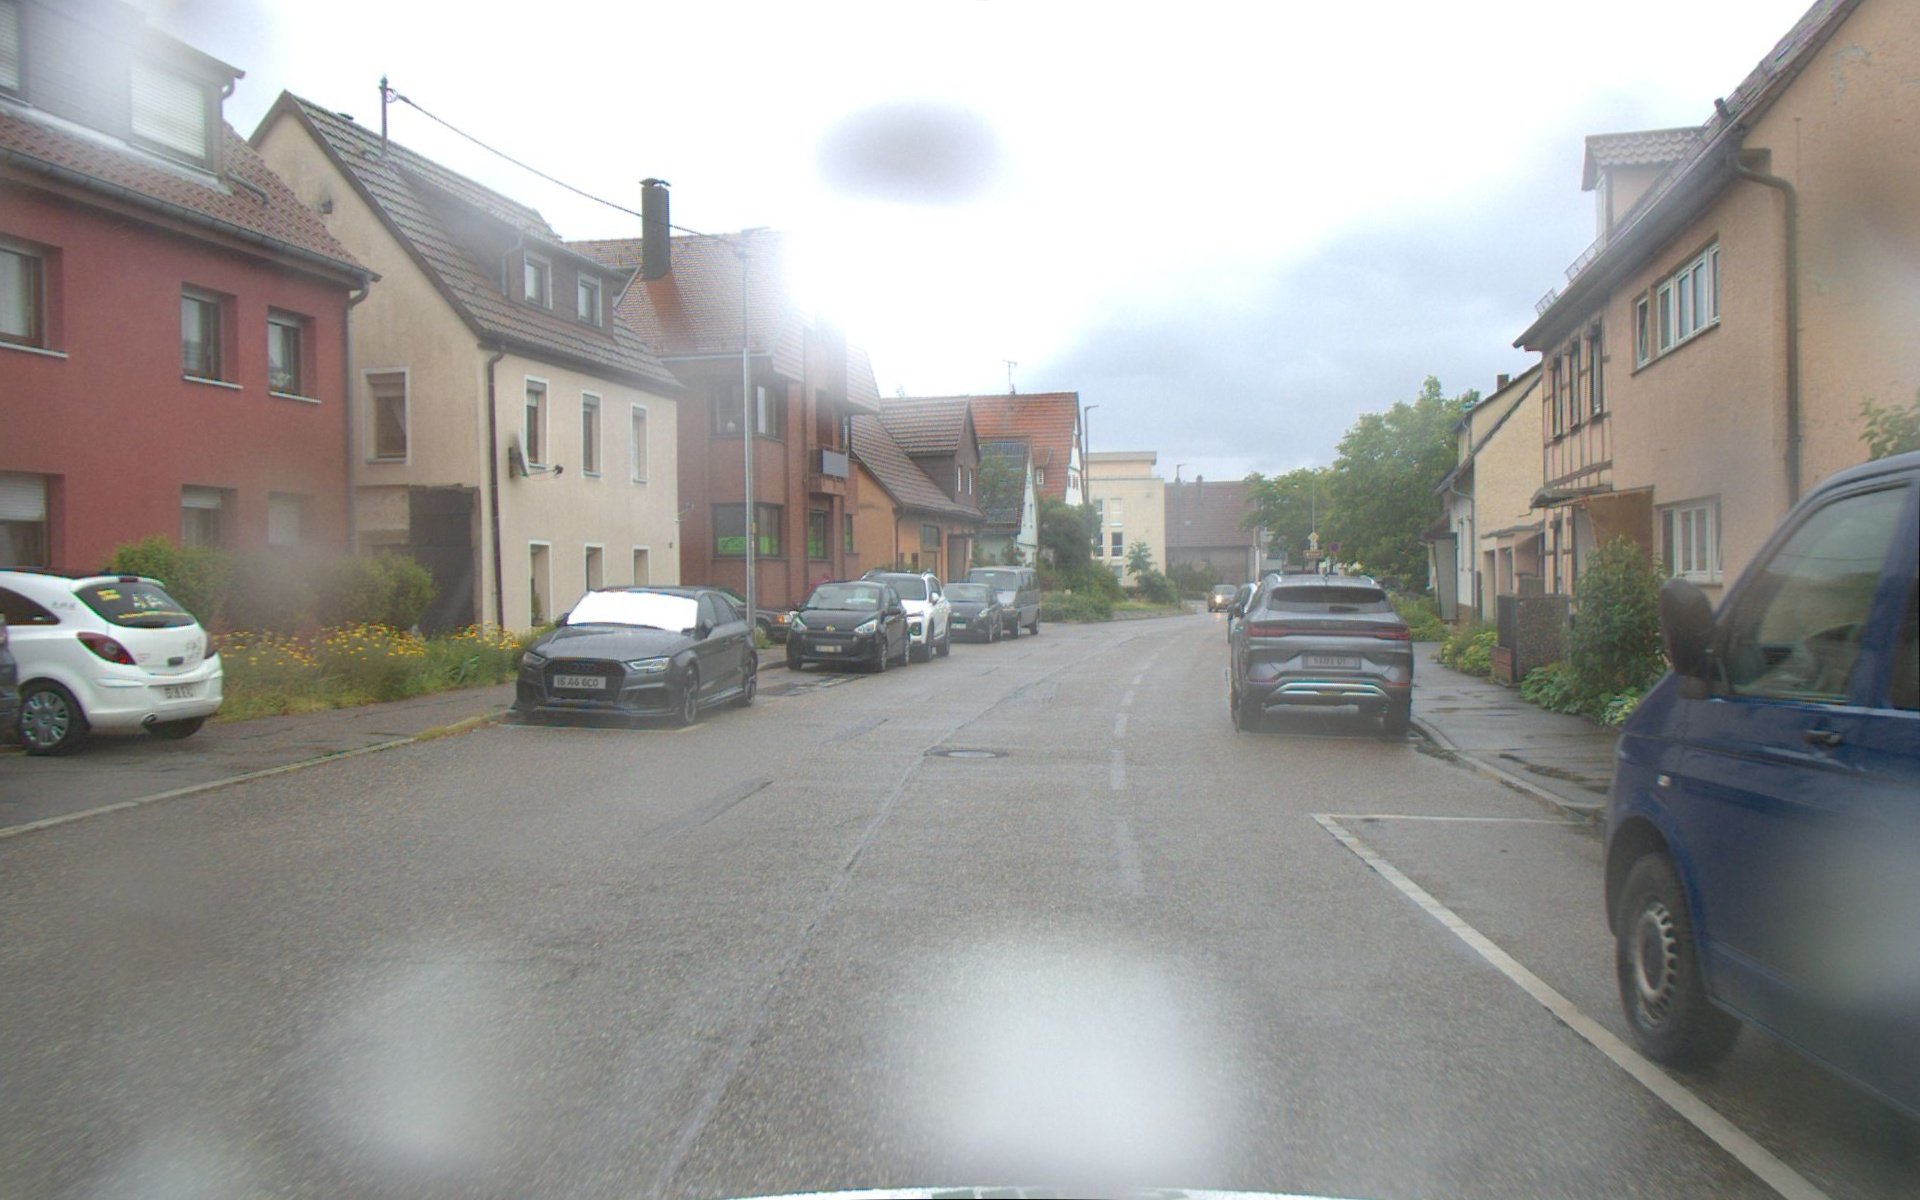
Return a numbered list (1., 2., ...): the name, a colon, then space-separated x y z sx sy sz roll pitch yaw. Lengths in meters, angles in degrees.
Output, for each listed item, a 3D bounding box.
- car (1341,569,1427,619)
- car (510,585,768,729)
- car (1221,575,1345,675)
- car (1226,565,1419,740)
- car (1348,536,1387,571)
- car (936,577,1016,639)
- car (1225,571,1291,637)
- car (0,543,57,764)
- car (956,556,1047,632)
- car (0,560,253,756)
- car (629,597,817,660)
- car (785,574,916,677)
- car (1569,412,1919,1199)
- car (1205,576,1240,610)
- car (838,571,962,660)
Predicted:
1. car: 14.787 -0.222 57.530 1.727 1.417 3.992 -7 -2 31
2. car: -3.418 0.547 18.400 1.592 1.379 4.114 1 0 7
3. car: 5.694 0.410 29.607 1.764 1.623 4.615 1 0 6
4. car: 4.103 0.525 19.347 1.868 1.747 4.559 1 1 9
5. car: 17.917 -2.018 72.712 1.603 1.455 3.680 -1 0 14
6. car: 0.455 0.187 42.582 1.544 1.523 3.570 -1 0 9
7. car: 8.276 0.090 46.111 1.712 1.739 4.004 -1 0 9
8. car: -8.457 0.319 11.433 3.499 1.532 1.857 2 1 12
9. car: 1.258 -0.185 47.625 1.782 2.049 5.219 -1 0 11
10. car: -7.947 0.429 13.844 3.387 1.505 1.592 1 0 10
11. car: -5.692 0.680 39.833 4.083 1.427 1.790 -1 0 15
12. car: -1.831 0.410 28.598 1.571 1.646 3.279 -1 0 9
13. car: 3.210 0.537 3.914 1.890 1.935 4.795 1 0 2
14. car: 16.155 -0.462 101.793 1.764 1.664 4.004 13 3 9
15. car: -1.133 0.278 33.328 1.727 1.647 4.660 -1 0 7
